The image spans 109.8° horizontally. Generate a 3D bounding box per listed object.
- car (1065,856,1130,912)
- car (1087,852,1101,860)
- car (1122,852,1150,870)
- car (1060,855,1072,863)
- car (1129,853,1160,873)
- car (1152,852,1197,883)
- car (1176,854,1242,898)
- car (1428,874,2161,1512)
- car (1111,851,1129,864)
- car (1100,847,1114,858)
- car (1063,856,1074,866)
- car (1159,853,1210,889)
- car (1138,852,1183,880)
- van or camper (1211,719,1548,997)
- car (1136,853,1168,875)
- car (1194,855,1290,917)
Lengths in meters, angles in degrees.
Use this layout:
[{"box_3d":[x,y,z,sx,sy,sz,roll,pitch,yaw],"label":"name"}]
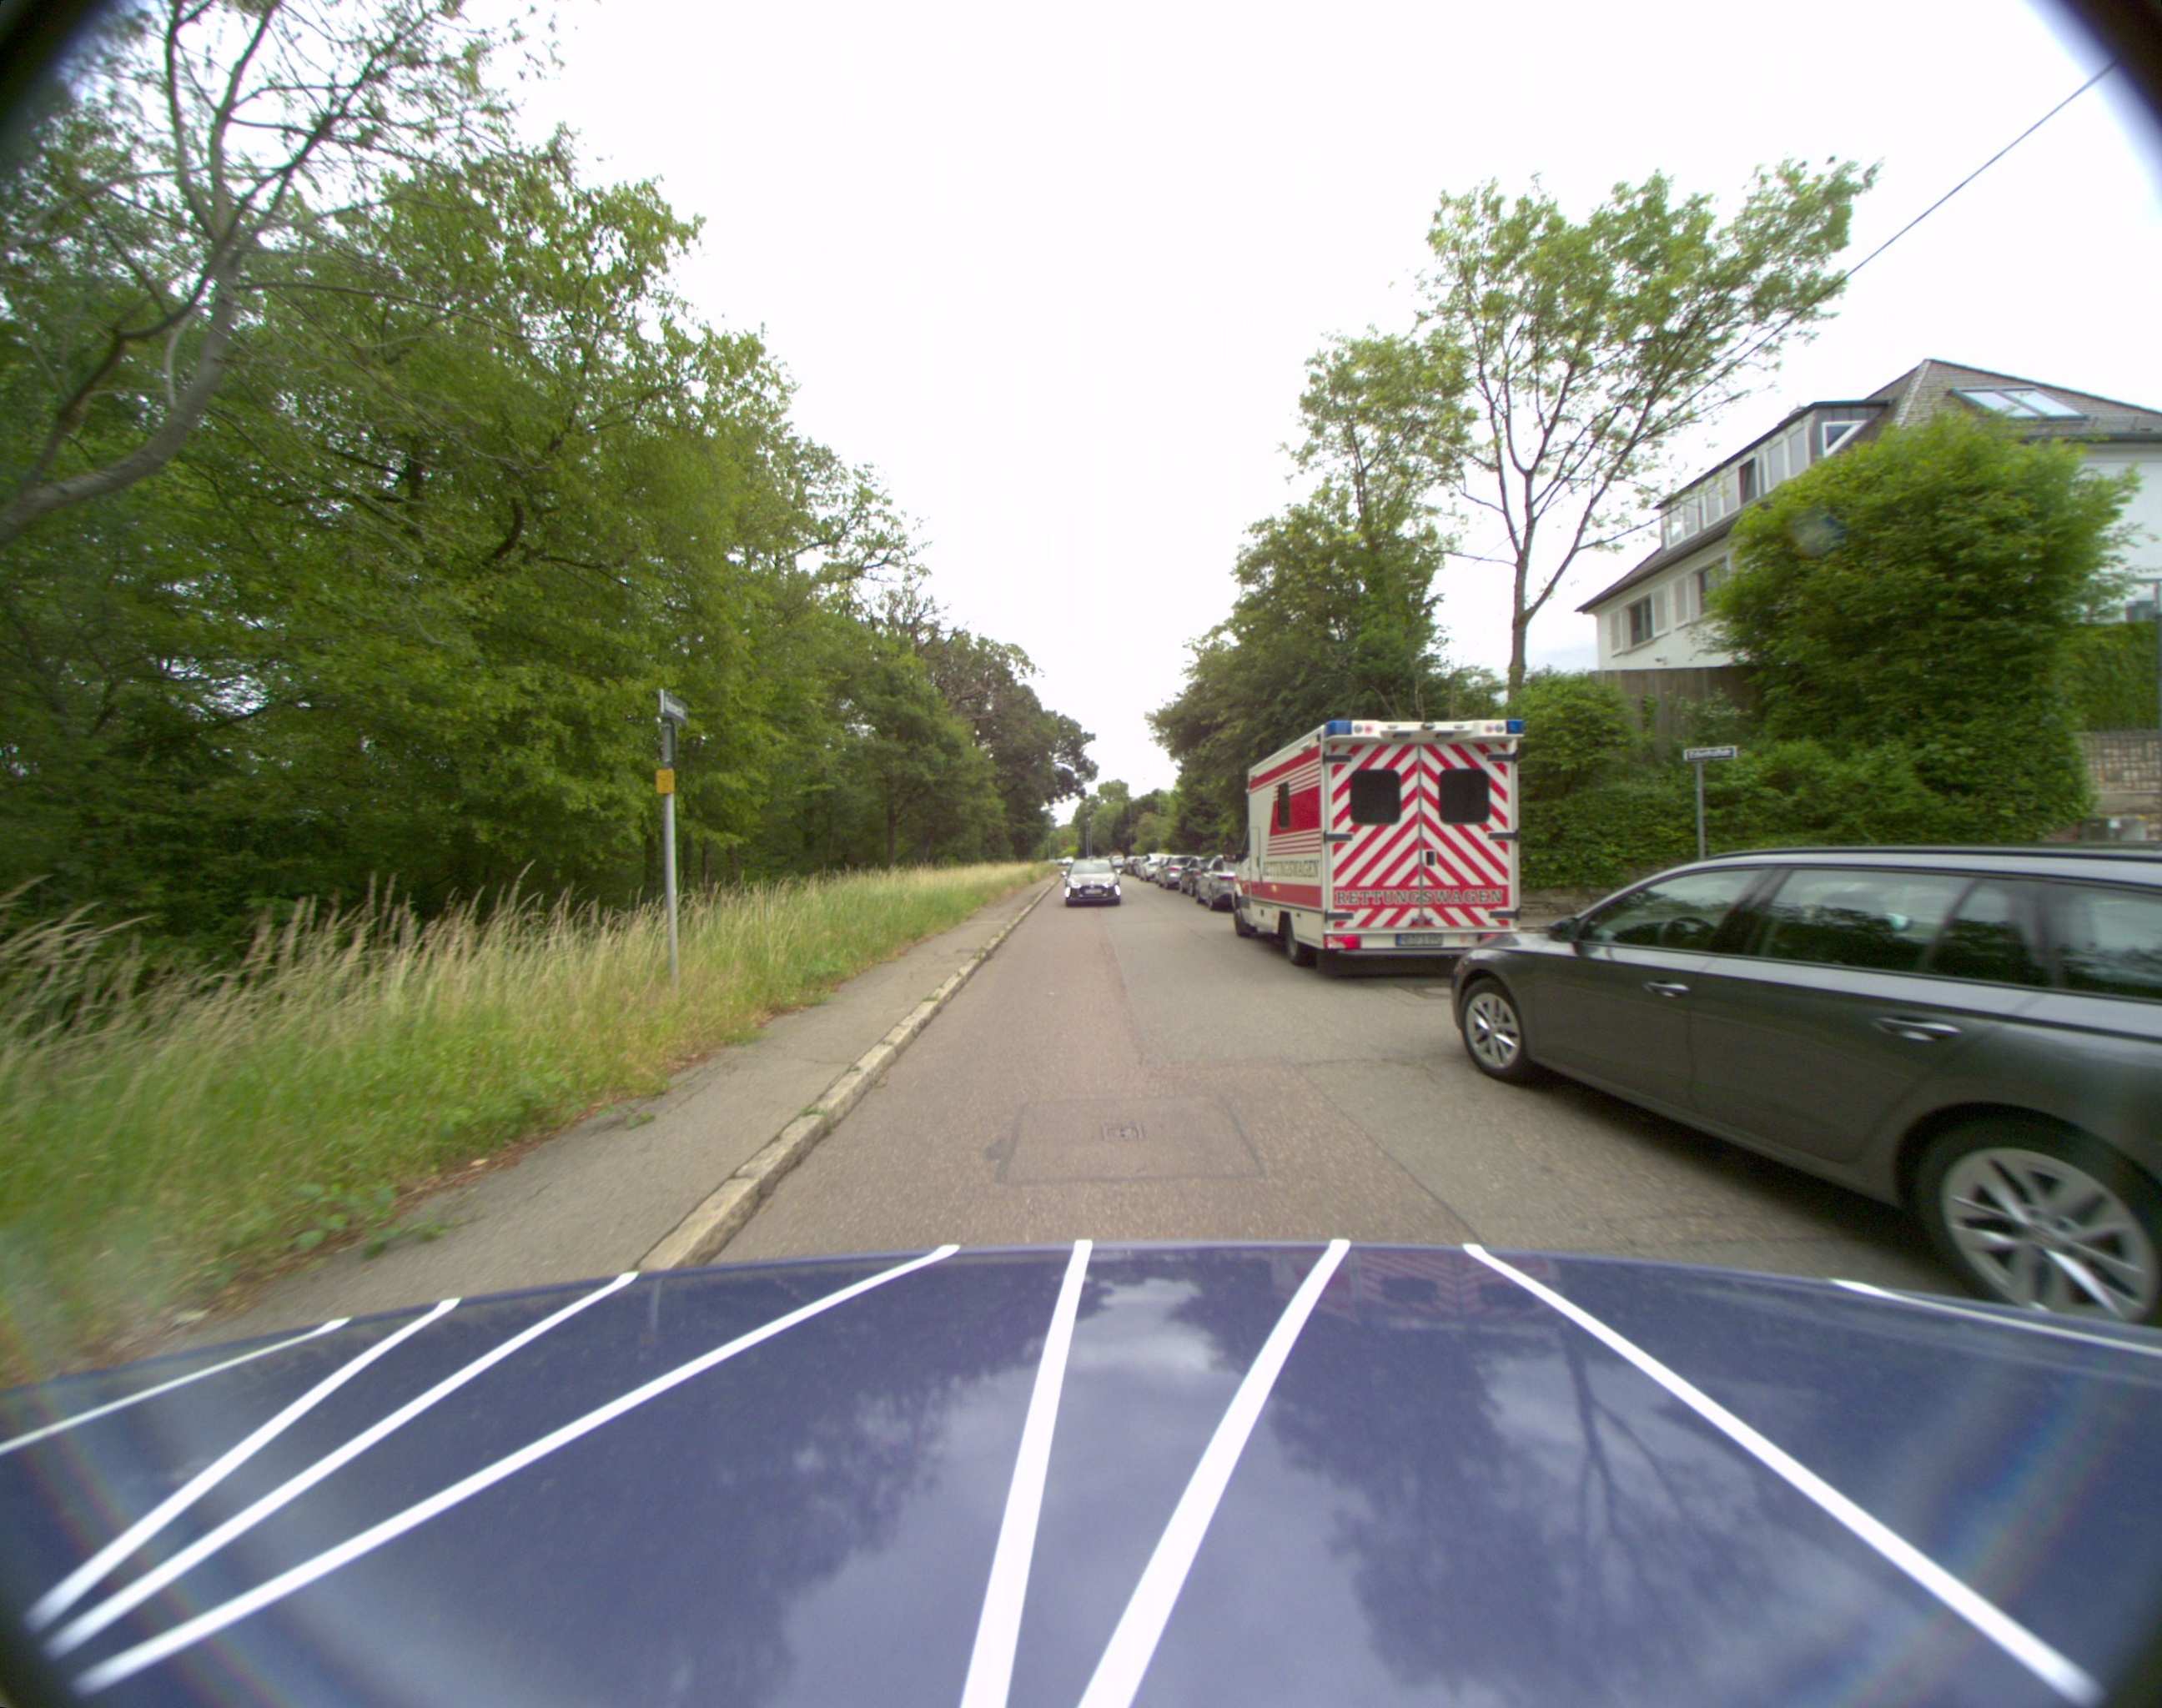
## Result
[{"box_3d":[0.430,0.862,23.678,1.788,1.491,4.014,-3,0,-1],"label":"car"},{"box_3d":[2.278,0.351,131.991,1.765,1.441,4.041,-3,0,-6],"label":"car"},{"box_3d":[4.627,0.575,64.118,1.853,1.431,4.909,-1,0,-2],"label":"car"},{"box_3d":[-3.312,1.023,169.274,2.000,1.678,4.706,-3,0,-10],"label":"car"},{"box_3d":[4.721,0.634,57.155,1.739,1.431,4.261,-1,0,-3],"label":"car"},{"box_3d":[4.794,0.669,39.421,1.725,1.496,3.816,0,0,-2],"label":"car"},{"box_3d":[4.676,0.757,28.218,1.725,1.496,4.059,0,0,0],"label":"car"},{"box_3d":[3.465,0.884,3.188,1.768,1.438,4.472,-1,0,-3],"label":"car"},{"box_3d":[4.650,0.424,91.626,1.788,1.491,4.014,-3,0,-1],"label":"car"},{"box_3d":[3.785,-0.193,112.367,1.741,1.431,3.786,-3,0,-3],"label":"car"},{"box_3d":[-2.432,1.316,144.761,1.999,1.678,4.709,-3,0,-2],"label":"car"},{"box_3d":[4.509,0.719,33.709,1.725,1.496,4.007,0,0,0],"label":"car"},{"box_3d":[4.557,0.674,44.235,1.921,1.553,4.603,0,0,-2],"label":"car"},{"box_3d":[3.771,0.034,11.608,2.462,2.878,7.168,-1,0,2],"label":"van or camper"},{"box_3d":[4.819,0.662,51.918,1.839,1.431,4.116,-1,0,0],"label":"car"},{"box_3d":[4.330,0.799,21.180,1.802,1.496,4.863,0,0,2],"label":"car"}]
